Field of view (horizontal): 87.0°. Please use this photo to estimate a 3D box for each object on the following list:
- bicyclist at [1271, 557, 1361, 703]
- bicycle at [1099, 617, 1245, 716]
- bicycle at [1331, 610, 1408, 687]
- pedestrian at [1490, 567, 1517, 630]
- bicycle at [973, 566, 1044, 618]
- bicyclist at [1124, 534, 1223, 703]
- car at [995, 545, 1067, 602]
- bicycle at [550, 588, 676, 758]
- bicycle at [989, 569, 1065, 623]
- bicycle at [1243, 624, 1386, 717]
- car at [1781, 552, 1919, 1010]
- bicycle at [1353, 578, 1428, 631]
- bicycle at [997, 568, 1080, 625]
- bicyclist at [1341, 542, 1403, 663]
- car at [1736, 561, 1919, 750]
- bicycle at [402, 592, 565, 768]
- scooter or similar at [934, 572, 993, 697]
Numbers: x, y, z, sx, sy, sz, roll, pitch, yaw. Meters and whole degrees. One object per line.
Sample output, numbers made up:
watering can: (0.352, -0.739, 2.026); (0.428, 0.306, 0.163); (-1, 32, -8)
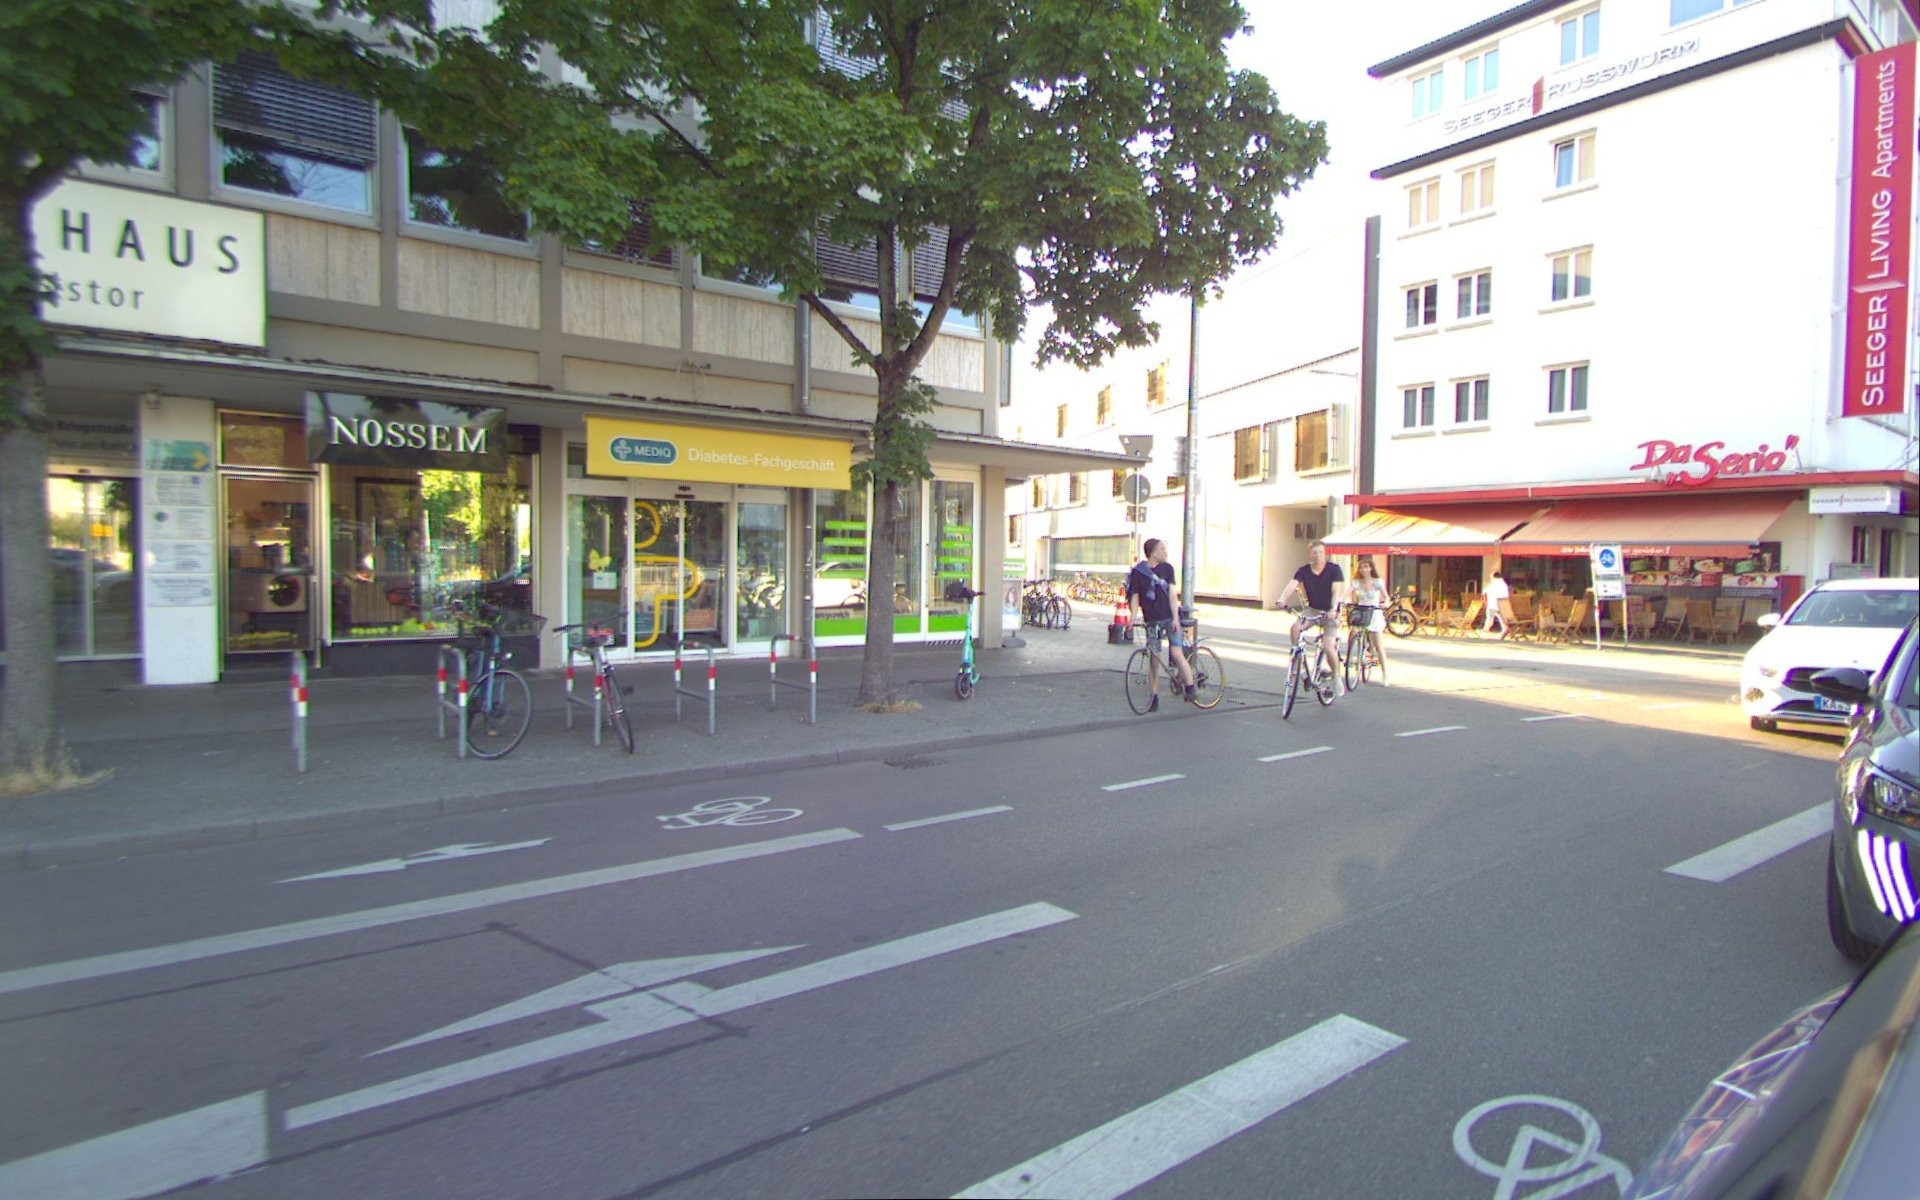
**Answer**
bicyclist: (3.840, 0.294, 10.924); (0.705, 1.505, 0.614); (-1, 2, -39)
bicycle: (2.317, 0.685, 10.967); (1.660, 0.912, 0.675); (-1, 3, -41)
bicycle: (5.321, 0.597, 13.089); (0.596, 0.835, 1.720); (2, 3, 33)
pedestrian: (12.813, -0.048, 23.876); (0.504, 1.467, 0.503); (2, 2, 26)
bicycle: (1.216, -0.194, 25.302); (1.651, 1.201, 0.487); (2, 1, -20)
bicyclist: (2.306, 0.169, 10.937); (0.796, 1.748, 0.665); (-1, 3, -40)
car: (2.672, -1.058, 38.965); (1.959, 2.038, 4.007); (1, 2, -7)
bicycle: (-2.933, 0.545, 8.455); (0.528, 1.199, 1.637); (-1, 3, -36)
bicycle: (1.606, -0.097, 24.152); (1.682, 1.201, 0.541); (2, 1, -20)
bicycle: (3.854, 0.726, 10.948); (1.773, 0.835, 0.615); (-1, 3, -39)
car: (5.236, 0.576, 4.575); (1.912, 1.522, 4.627); (3, 3, 44)
bicycle: (10.413, 0.093, 24.529); (0.589, 1.180, 1.636); (-3, 4, -32)
bicycle: (1.793, -0.075, 23.088); (1.743, 1.201, 0.556); (2, 1, -20)
bicyclist: (5.330, 0.015, 13.075); (0.584, 1.505, 0.710); (2, 2, 34)
car: (9.381, 0.395, 9.848); (4.481, 1.466, 1.816); (-3, 4, -38)
bicycle: (-3.829, 0.565, 8.057); (0.656, 1.154, 1.742); (-1, 4, -44)
scooter or similar: (0.026, 0.362, 11.714); (0.504, 1.338, 1.283); (1, 2, -7)
